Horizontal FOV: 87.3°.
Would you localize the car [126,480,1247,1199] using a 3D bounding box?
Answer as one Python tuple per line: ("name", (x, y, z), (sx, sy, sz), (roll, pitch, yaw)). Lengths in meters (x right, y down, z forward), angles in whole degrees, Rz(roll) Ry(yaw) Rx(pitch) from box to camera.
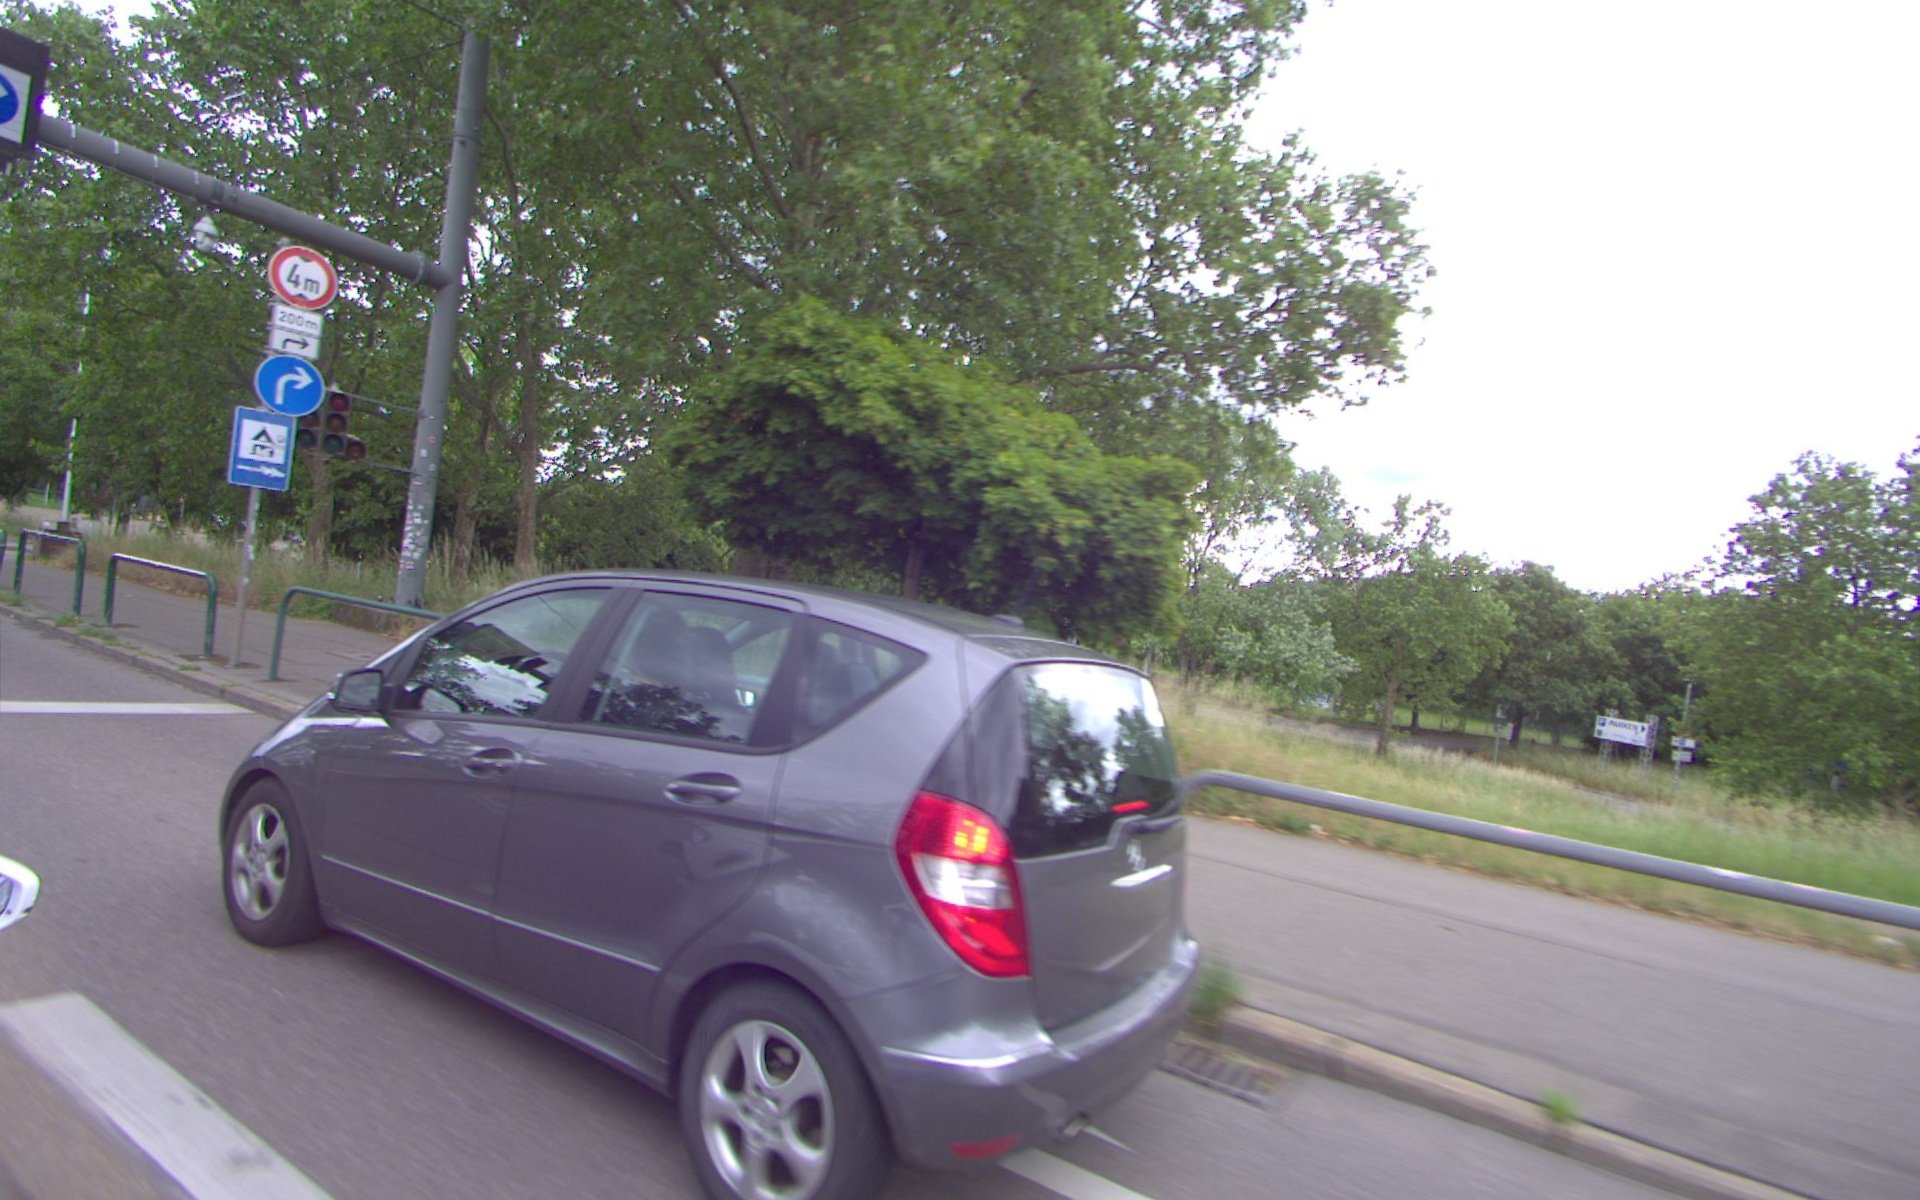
("car", (-1.216, 0.621, 3.886), (3.967, 1.635, 1.829), (8, -1, 32))
